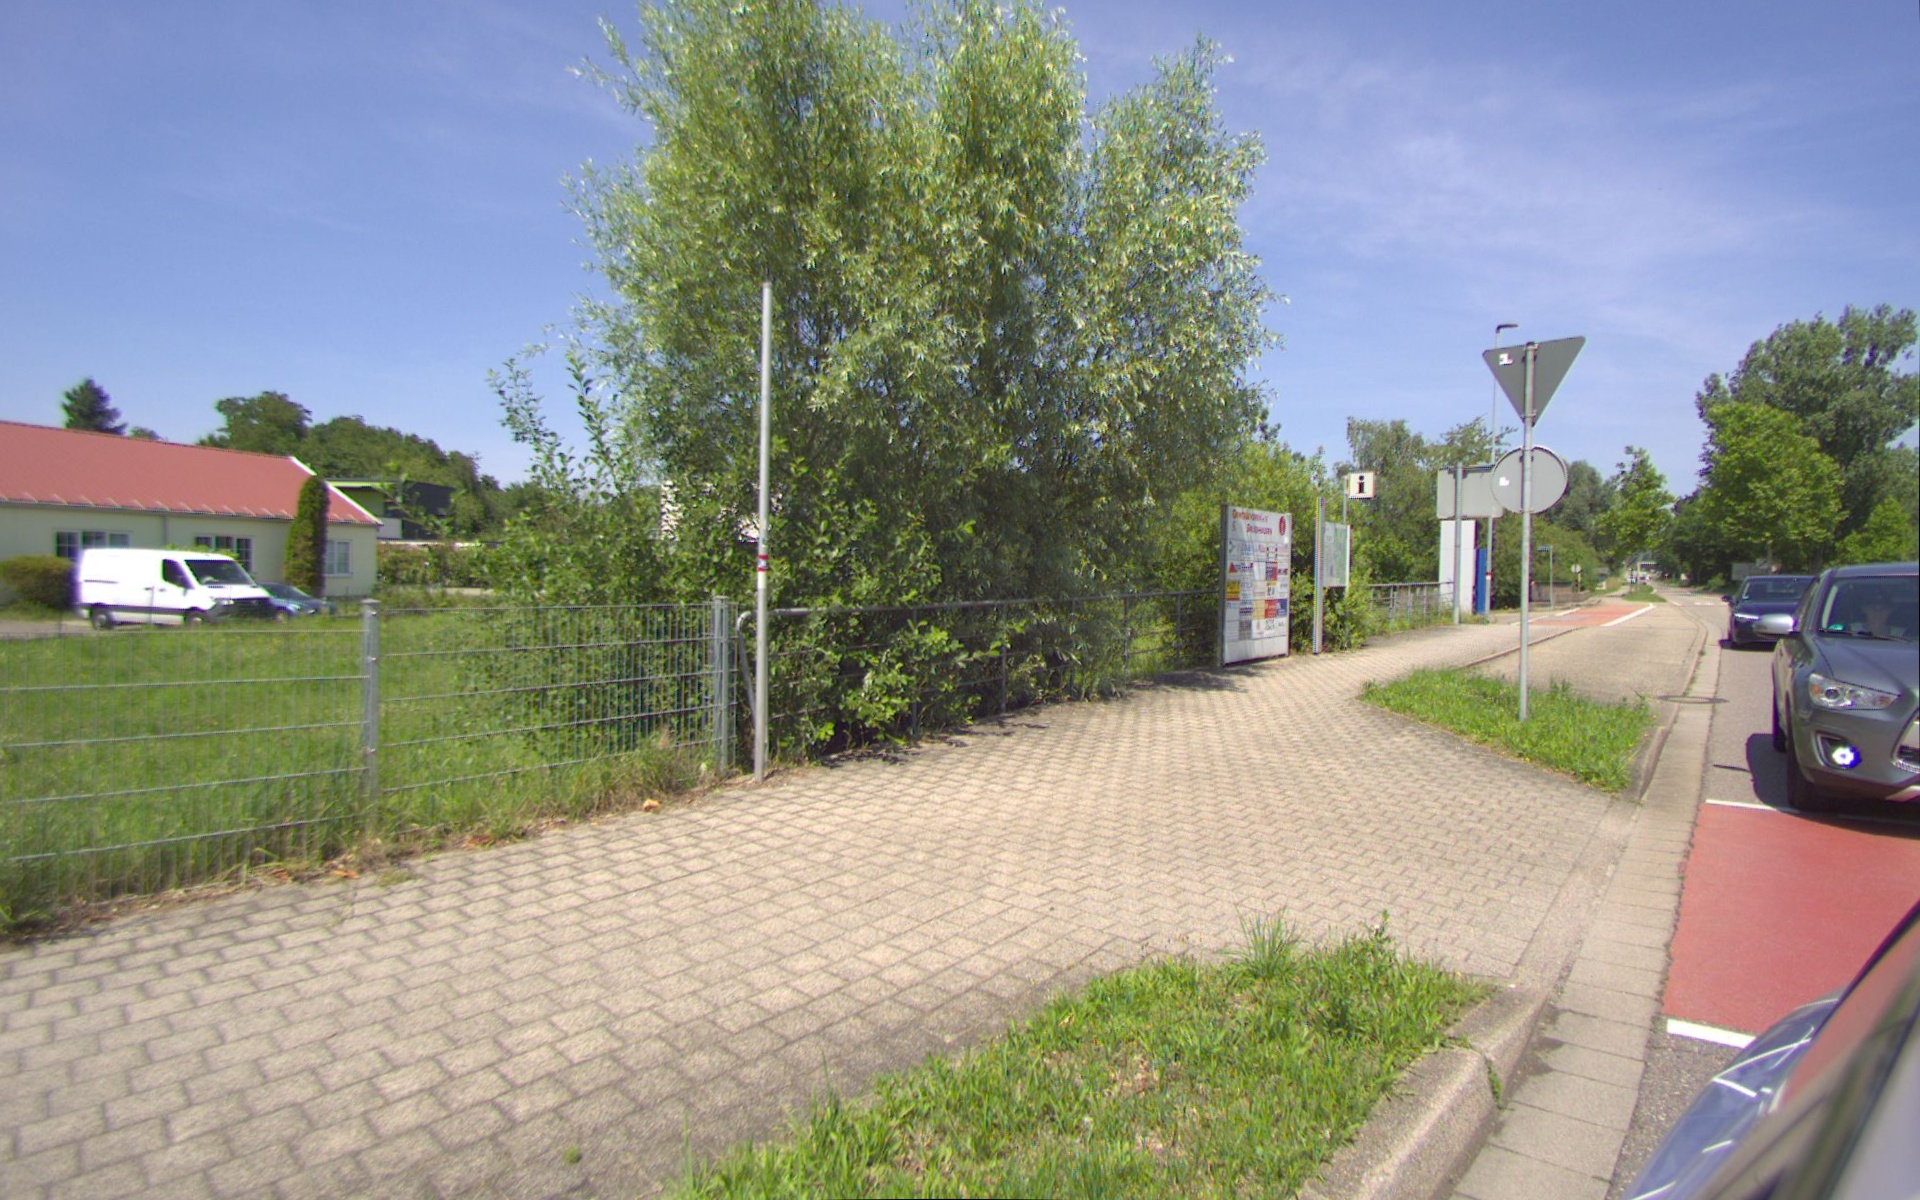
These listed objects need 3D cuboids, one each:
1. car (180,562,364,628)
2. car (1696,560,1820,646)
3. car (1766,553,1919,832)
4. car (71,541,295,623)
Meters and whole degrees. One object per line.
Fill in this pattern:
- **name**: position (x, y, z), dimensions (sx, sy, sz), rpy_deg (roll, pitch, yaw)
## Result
- **car**: position (-22.014, -0.164, 32.472), dimensions (4.854, 2.038, 2.064), rpy_deg (0, 1, 11)
- **car**: position (16.194, 0.013, 20.462), dimensions (1.787, 1.559, 4.070), rpy_deg (2, 2, 41)
- **car**: position (6.972, 0.471, 7.183), dimensions (1.741, 1.553, 4.466), rpy_deg (2, 2, 36)
- **car**: position (-22.267, -0.519, 29.102), dimensions (5.099, 2.229, 2.210), rpy_deg (0, 1, 10)
